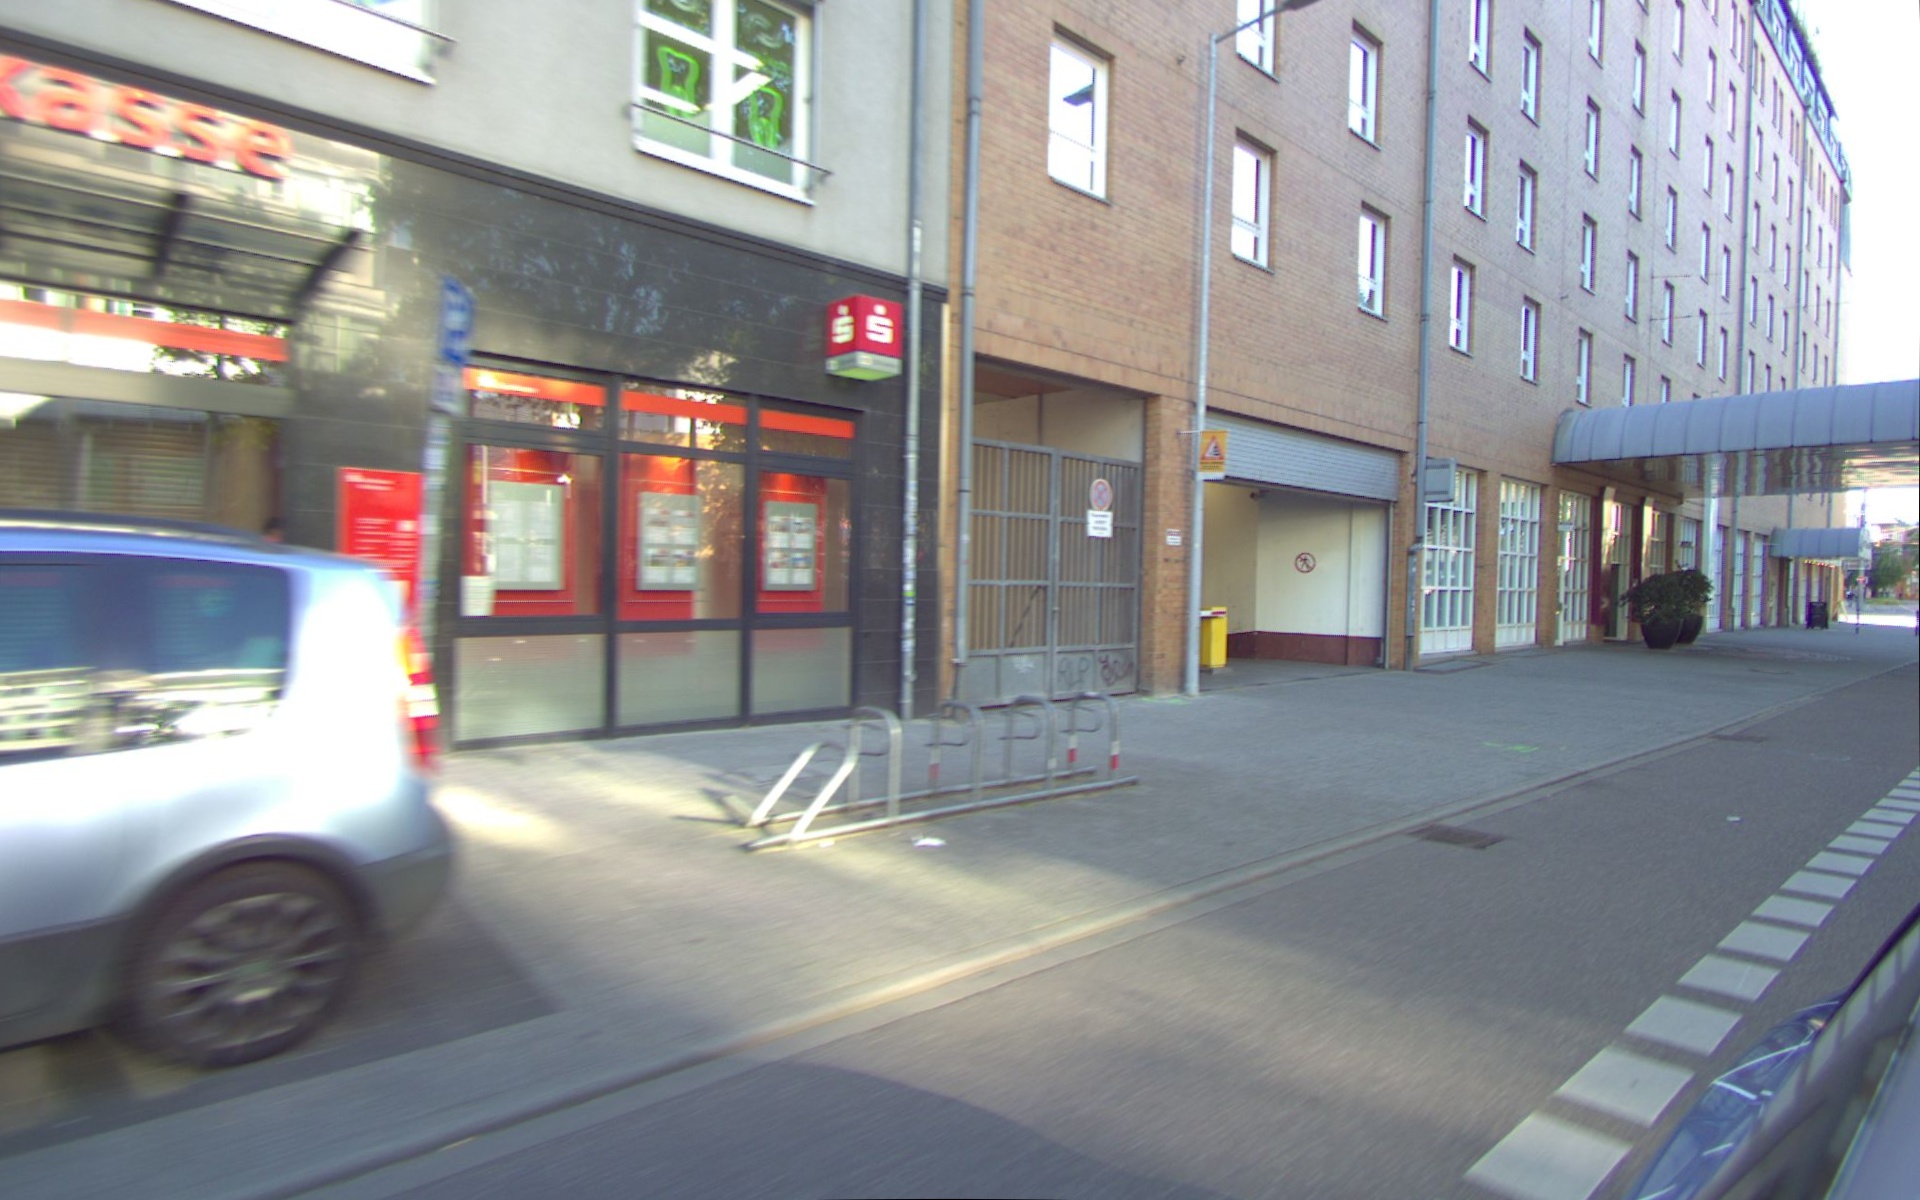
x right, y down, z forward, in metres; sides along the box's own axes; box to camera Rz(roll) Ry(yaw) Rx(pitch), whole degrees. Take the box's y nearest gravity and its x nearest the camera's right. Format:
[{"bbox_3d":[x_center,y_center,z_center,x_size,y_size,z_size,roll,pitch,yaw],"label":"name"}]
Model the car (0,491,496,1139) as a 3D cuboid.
[{"bbox_3d":[-3.711,0.488,2.617,4.210,1.642,1.837,0,5,-41],"label":"car"}]
